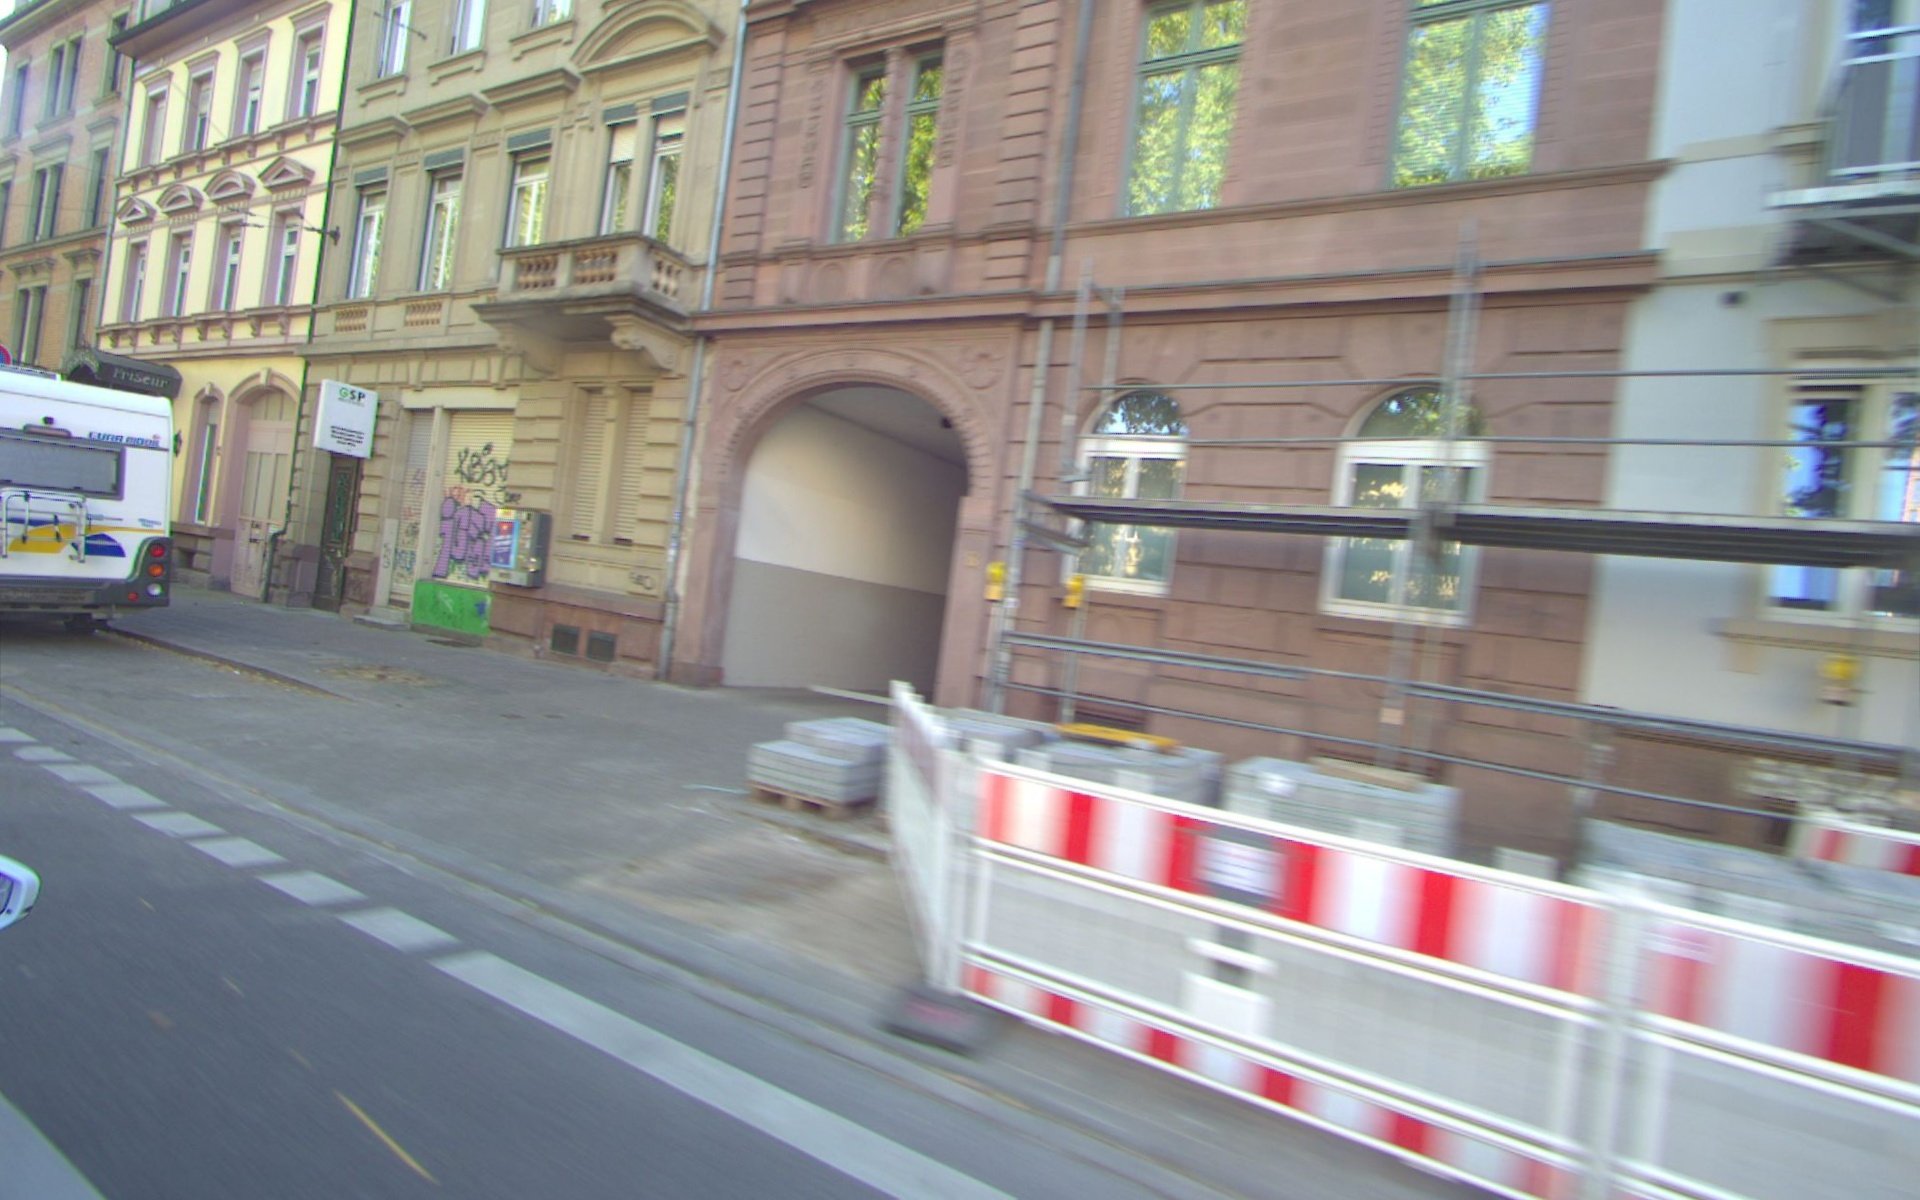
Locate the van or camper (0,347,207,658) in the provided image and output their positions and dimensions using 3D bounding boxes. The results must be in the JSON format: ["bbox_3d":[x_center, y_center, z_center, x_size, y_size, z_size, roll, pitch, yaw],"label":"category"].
[{"bbox_3d":[-12.309,-1.271,12.240,7.757,3.011,2.477,6,2,34],"label":"van or camper"}]
